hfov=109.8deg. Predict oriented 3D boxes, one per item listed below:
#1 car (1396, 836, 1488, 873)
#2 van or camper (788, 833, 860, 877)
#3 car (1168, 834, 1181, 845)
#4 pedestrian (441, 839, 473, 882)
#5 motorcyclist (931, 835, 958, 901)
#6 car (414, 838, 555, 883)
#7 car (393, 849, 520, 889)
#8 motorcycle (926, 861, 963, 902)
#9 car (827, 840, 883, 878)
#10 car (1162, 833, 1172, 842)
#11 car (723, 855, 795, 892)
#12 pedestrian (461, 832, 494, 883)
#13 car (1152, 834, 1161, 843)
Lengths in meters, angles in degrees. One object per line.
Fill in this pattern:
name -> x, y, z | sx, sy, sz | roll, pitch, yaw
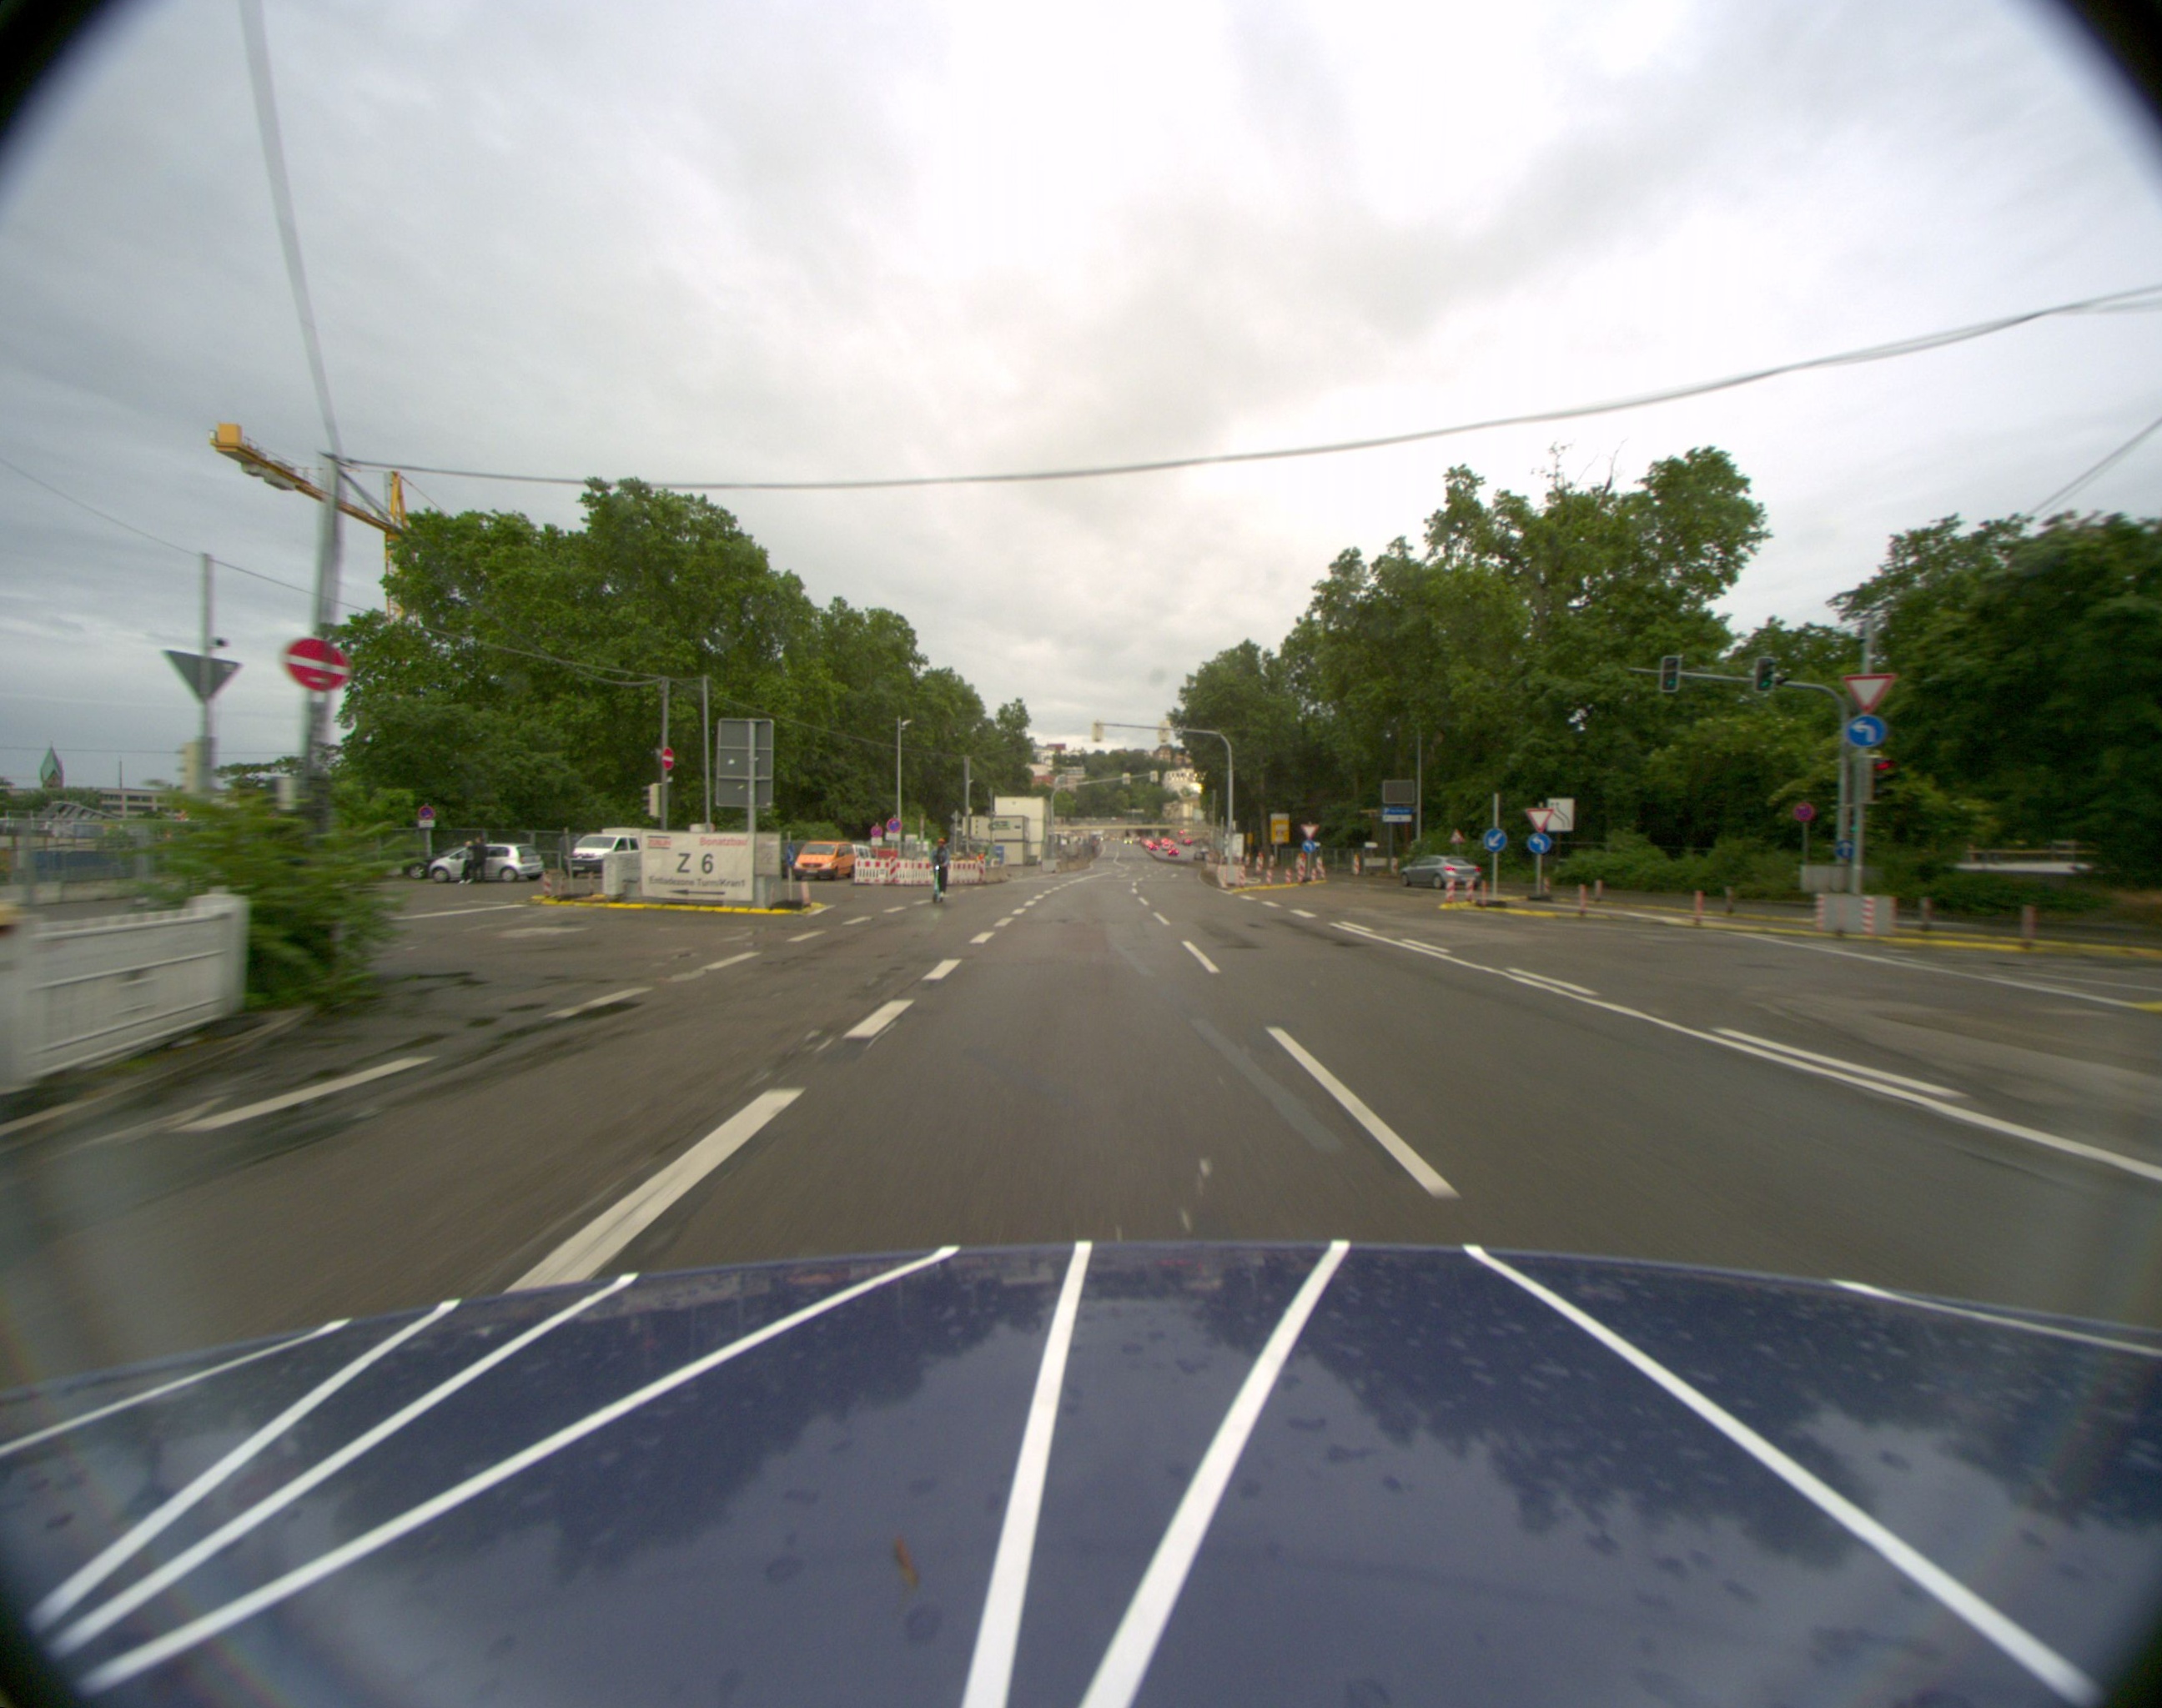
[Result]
car -> 16.031, 0.071, 33.997 | 1.663, 1.533, 4.156 | -1, -2, -9
van or camper -> -12.505, 0.083, 37.313 | 2.123, 2.016, 5.011 | 1, -1, -4
car -> 18.224, -2.799, 148.185 | 1.998, 2.002, 4.001 | -1, 0, 2
pedestrian -> -23.013, 0.232, 28.026 | 0.652, 1.565, 0.662 | 1, 0, -7
motorcyclist -> -4.255, 0.437, 23.717 | 0.726, 2.024, 0.587 | 1, 0, 1
car -> -22.914, 0.271, 29.330 | 3.729, 1.627, 1.999 | 1, -1, -7
car -> -26.933, 0.653, 32.895 | 3.729, 1.627, 1.999 | 1, -1, -7
motorcycle -> -4.257, 0.839, 23.790 | 0.730, 1.221, 2.161 | 1, -1, 1
car -> -12.736, 0.291, 43.050 | 1.999, 2.054, 4.190 | 1, -1, -2
car -> 21.107, -3.945, 186.097 | 1.998, 2.002, 4.001 | -1, 0, 2
car -> -15.163, 0.903, 36.004 | 2.000, 1.627, 4.188 | 1, -1, -7
pedestrian -> -22.247, 0.122, 28.021 | 0.652, 1.860, 0.662 | 1, 0, -7
car -> 18.448, -3.811, 185.559 | 1.998, 2.002, 4.001 | -1, 0, 2
